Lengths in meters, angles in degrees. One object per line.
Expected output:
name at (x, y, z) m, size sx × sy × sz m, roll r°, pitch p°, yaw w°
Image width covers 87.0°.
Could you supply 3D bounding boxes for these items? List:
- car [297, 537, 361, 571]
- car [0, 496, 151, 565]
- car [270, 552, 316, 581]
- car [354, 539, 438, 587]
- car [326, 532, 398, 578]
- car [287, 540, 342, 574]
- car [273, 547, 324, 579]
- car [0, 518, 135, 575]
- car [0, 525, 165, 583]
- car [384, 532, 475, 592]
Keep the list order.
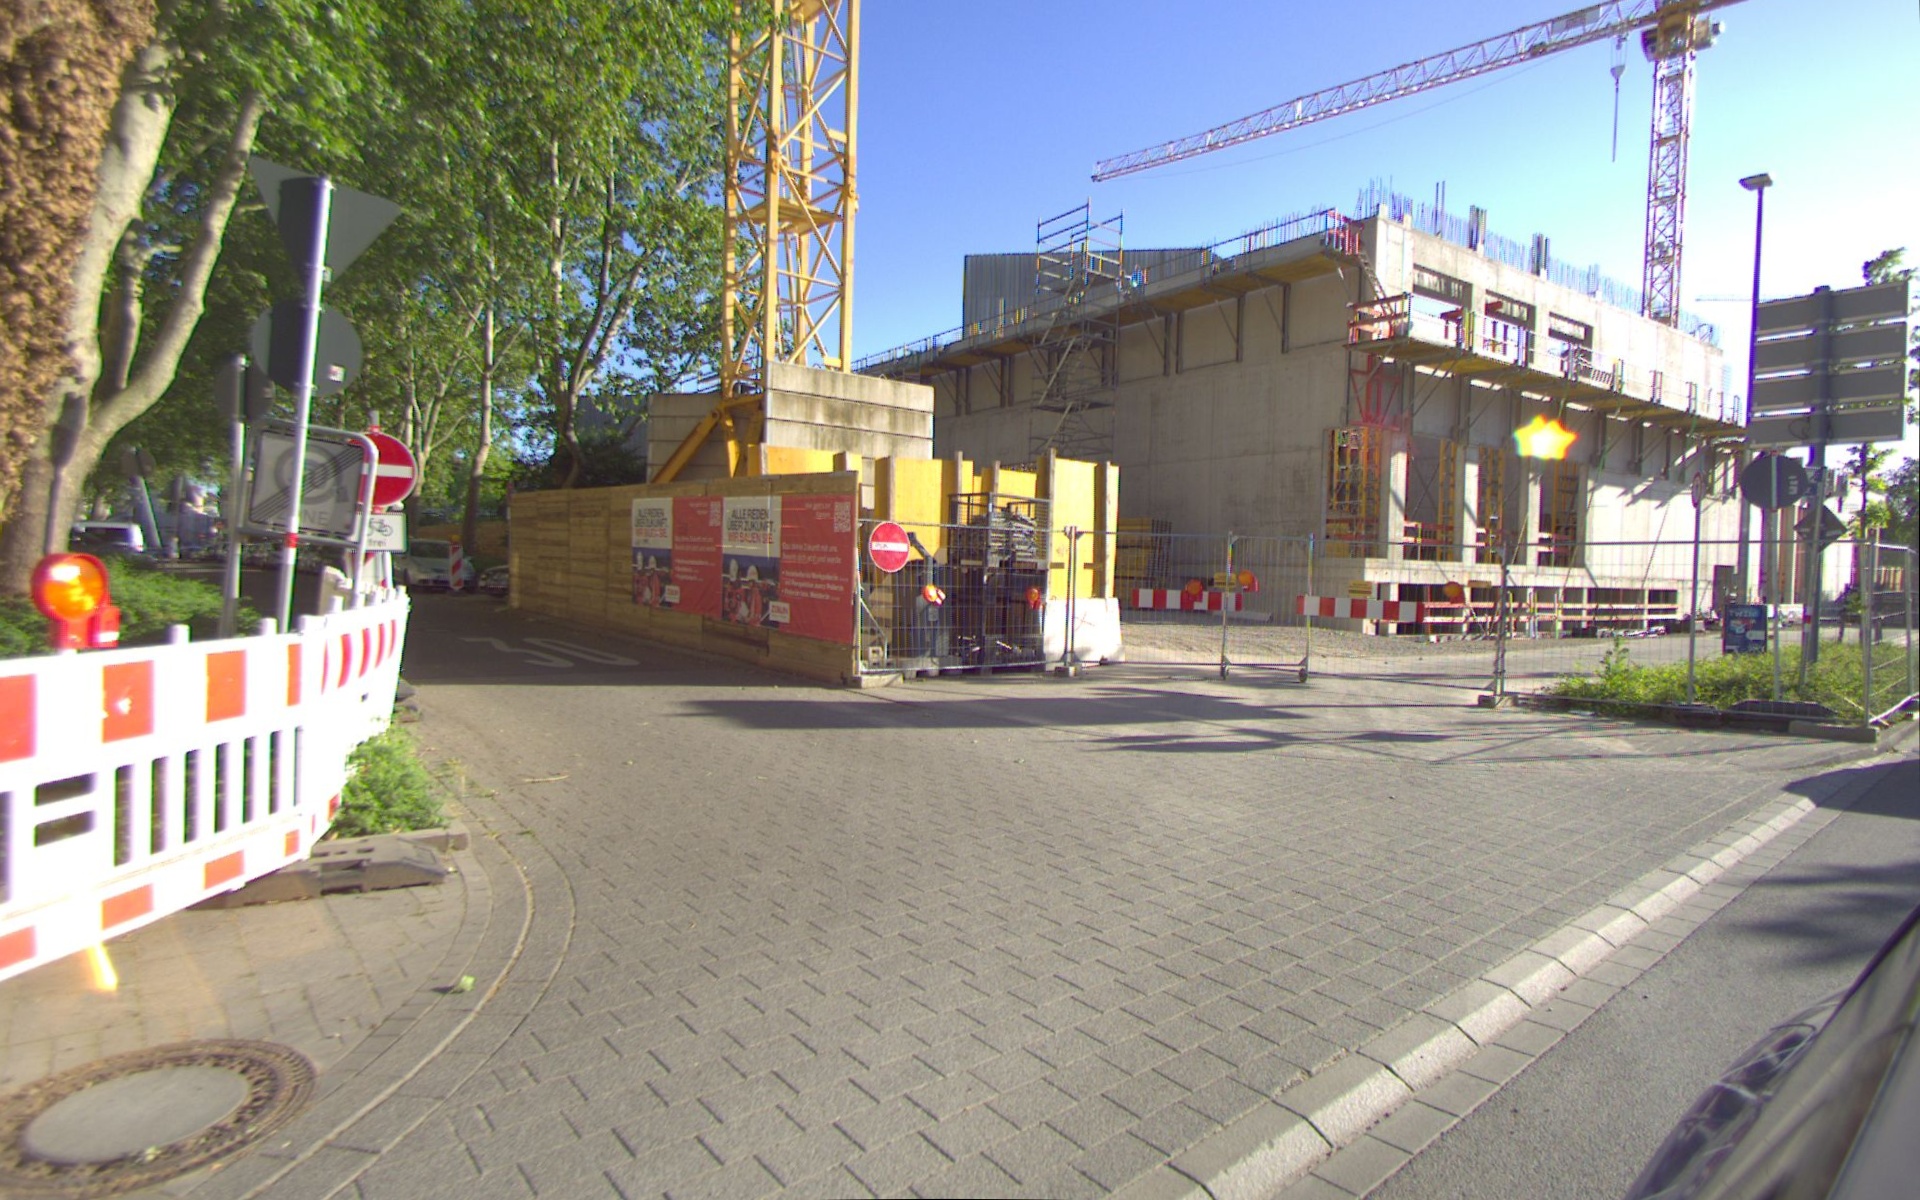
car at (-25.293, -1.805, 40.502) m, size 1.697 × 1.284 × 3.996 m, roll 0°, pitch 1°, yaw -39°
car at (-23.137, -1.738, 25.476) m, size 4.290 × 1.602 × 1.870 m, roll -1°, pitch 3°, yaw -41°
car at (-36.222, -1.845, 54.924) m, size 1.697 × 1.407 × 3.998 m, roll 0°, pitch 3°, yaw -39°
car at (-18.267, -1.170, 32.710) m, size 1.697 × 1.445 × 3.996 m, roll 0°, pitch 1°, yaw -39°
car at (-21.947, -1.605, 37.078) m, size 1.697 × 1.549 × 3.996 m, roll 0°, pitch 0°, yaw -39°
car at (-29.415, -1.918, 46.061) m, size 1.697 × 1.397 × 3.996 m, roll -1°, pitch 1°, yaw -39°
car at (-32.527, -1.832, 49.746) m, size 1.697 × 1.407 × 3.998 m, roll 0°, pitch 3°, yaw -39°
car at (-31.762, -1.862, 35.528) m, size 4.290 × 1.861 × 1.998 m, roll 0°, pitch 3°, yaw -41°
car at (-26.197, -1.352, 29.843) m, size 4.290 × 1.602 × 1.870 m, roll -1°, pitch 3°, yaw -41°
car at (-15.047, -1.116, 28.603) m, size 1.695 × 1.548 × 4.001 m, roll 1°, pitch 3°, yaw -36°
